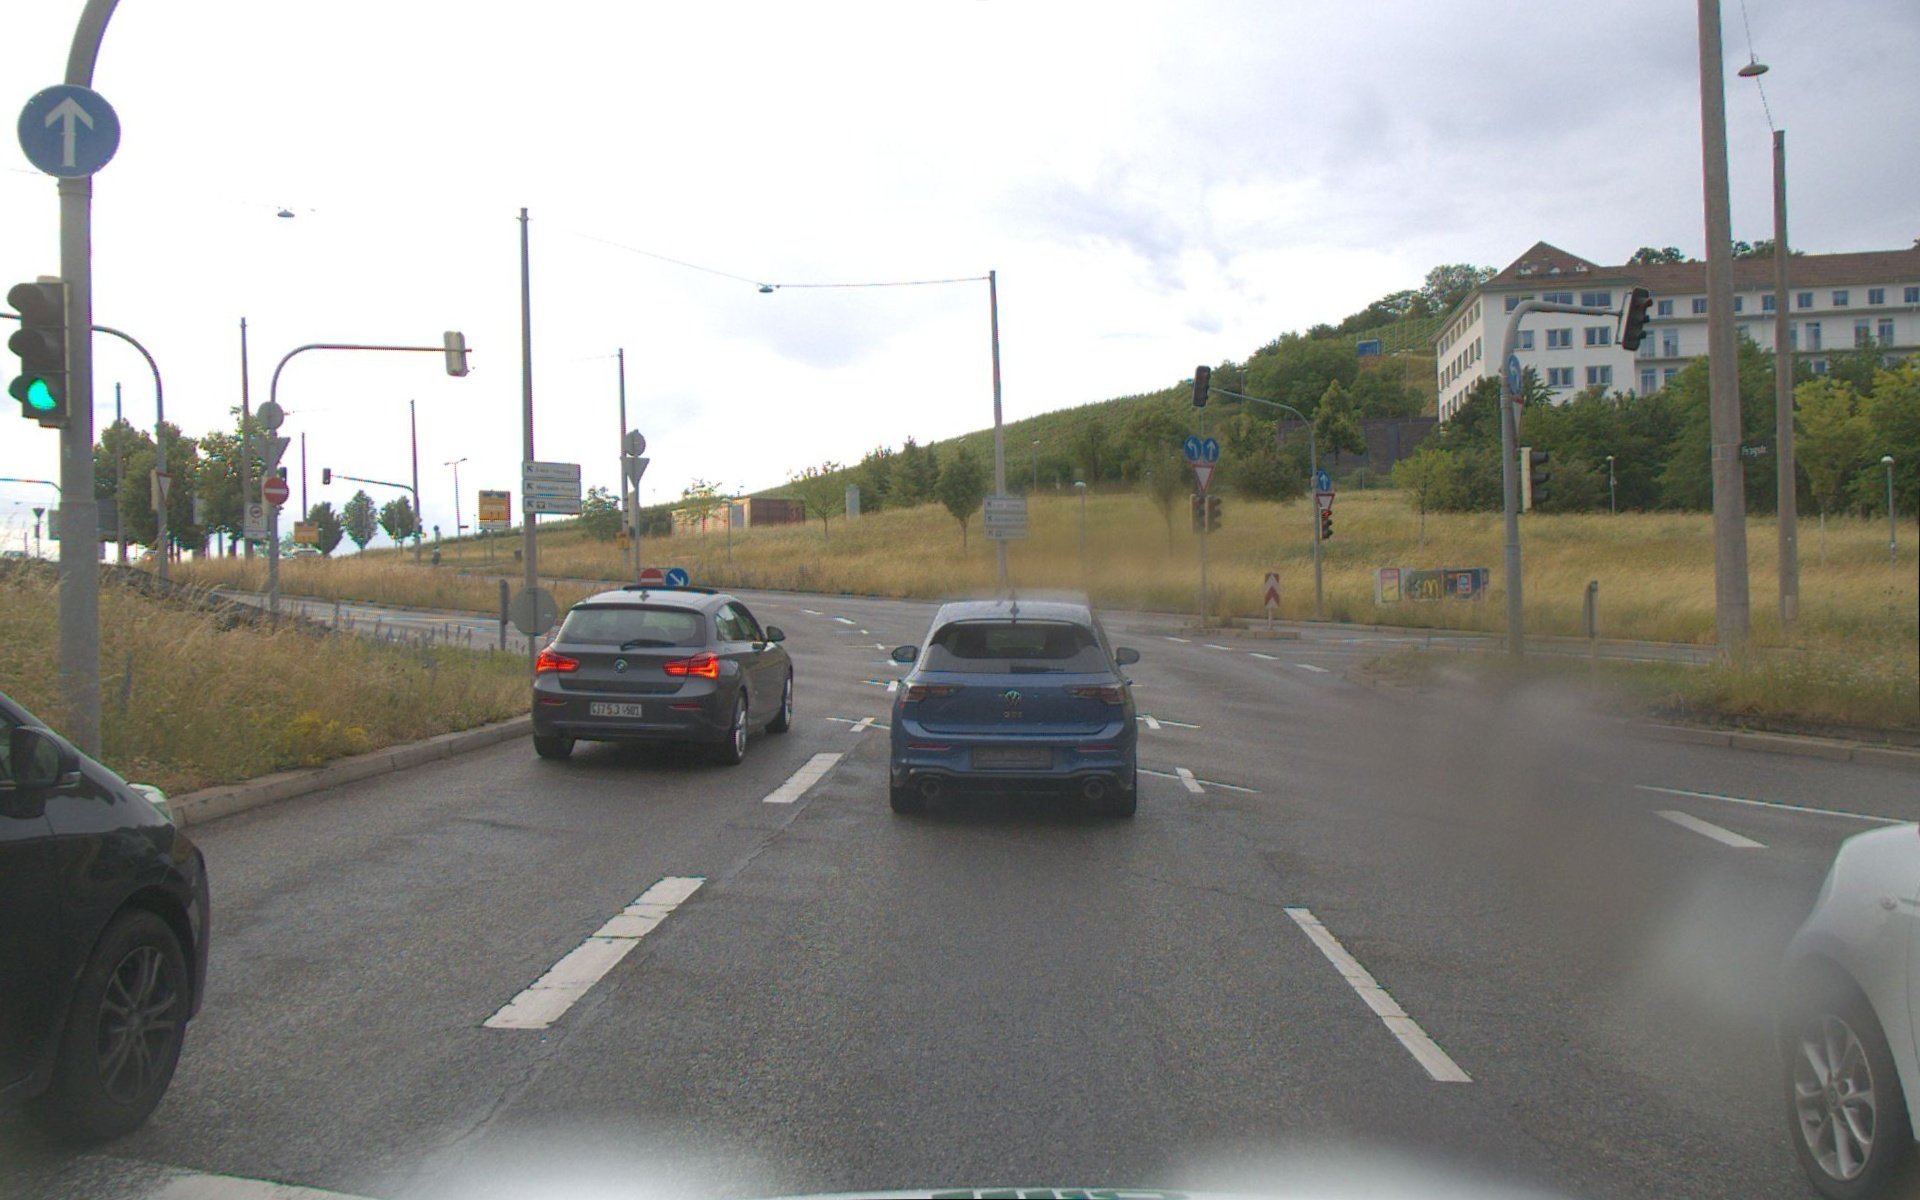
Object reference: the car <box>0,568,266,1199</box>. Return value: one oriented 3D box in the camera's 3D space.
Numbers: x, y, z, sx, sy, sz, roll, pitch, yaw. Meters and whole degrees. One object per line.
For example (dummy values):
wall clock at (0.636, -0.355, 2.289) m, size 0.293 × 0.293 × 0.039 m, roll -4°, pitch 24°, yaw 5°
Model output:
car at (-3.005, 0.661, 3.180) m, size 1.608 × 1.530 × 3.779 m, roll 3°, pitch 0°, yaw 1°

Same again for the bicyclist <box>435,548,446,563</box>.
bicyclist at (-37.367, -3.223, 118.915) m, size 0.519 × 1.065 × 0.573 m, roll 3°, pitch -1°, yaw -37°

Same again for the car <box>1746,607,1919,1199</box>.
car at (3.117, 0.765, 3.096) m, size 1.624 × 1.529 × 3.450 m, roll 0°, pitch -1°, yaw 0°

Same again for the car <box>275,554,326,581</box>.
car at (-41.672, -2.054, 104.456) m, size 1.977 × 1.646 × 4.792 m, roll 2°, pitch 0°, yaw -35°

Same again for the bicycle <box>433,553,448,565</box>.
bicycle at (-37.280, -2.952, 118.784) m, size 0.514 × 0.788 × 1.600 m, roll 2°, pitch 0°, yaw -37°

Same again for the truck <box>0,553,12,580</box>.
truck at (-118.166, -4.193, 201.536) m, size 3.240 × 3.128 × 6.083 m, roll 3°, pitch -1°, yaw -42°

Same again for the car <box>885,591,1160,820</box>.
car at (0.444, 0.699, 12.664) m, size 1.787 × 1.486 × 3.808 m, roll 0°, pitch 0°, yaw 1°

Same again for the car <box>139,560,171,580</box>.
car at (-70.492, -2.625, 144.756) m, size 1.975 × 1.665 × 4.372 m, roll 3°, pitch 0°, yaw -32°

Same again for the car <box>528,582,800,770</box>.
car at (-2.563, 0.607, 15.273) m, size 1.667 × 1.485 × 4.115 m, roll -1°, pitch 0°, yaw 1°
